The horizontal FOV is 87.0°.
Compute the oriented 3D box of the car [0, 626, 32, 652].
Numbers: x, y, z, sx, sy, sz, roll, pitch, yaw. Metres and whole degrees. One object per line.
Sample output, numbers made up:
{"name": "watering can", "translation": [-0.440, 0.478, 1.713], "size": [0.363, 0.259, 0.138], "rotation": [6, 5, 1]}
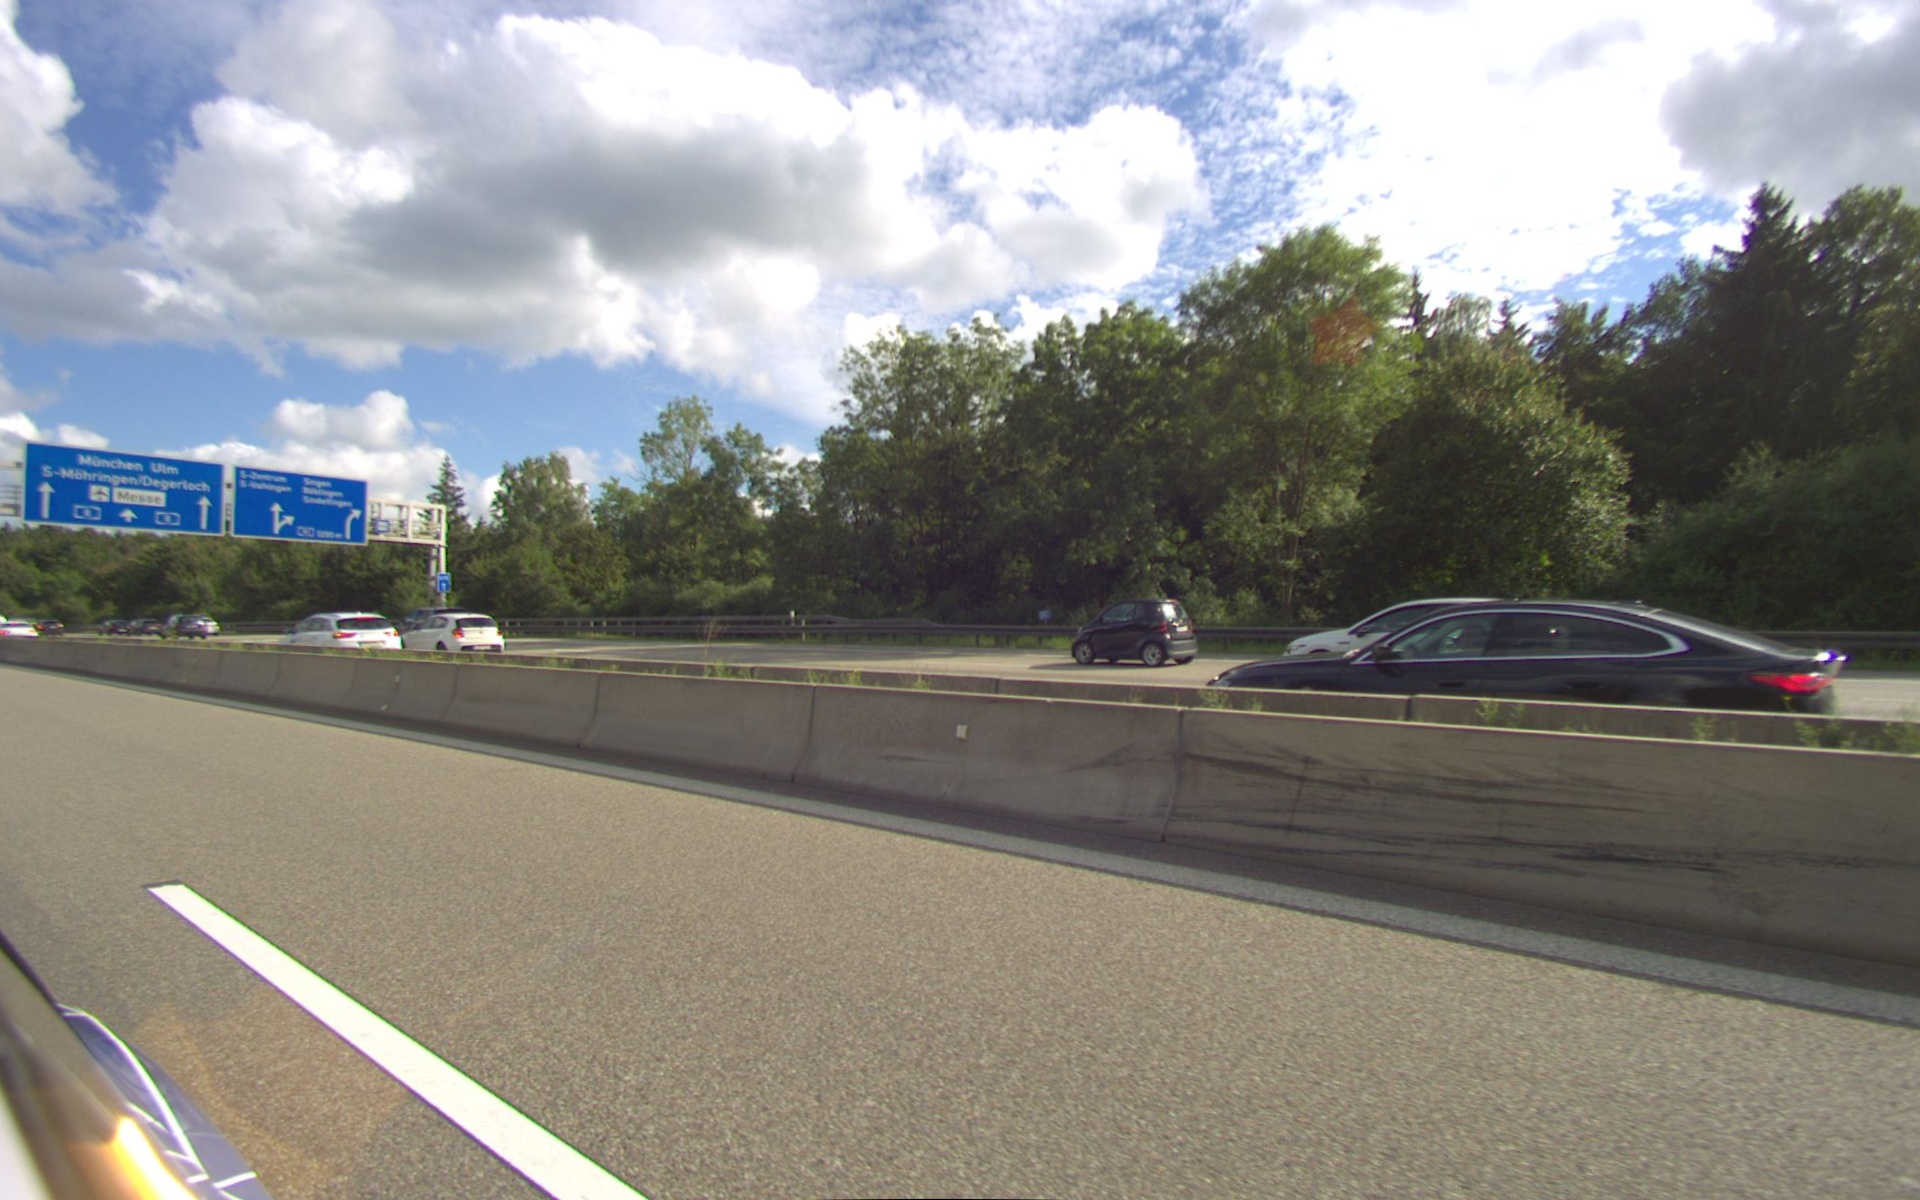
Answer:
{"name": "car", "translation": [-51.739, 2.072, 54.617], "size": [4.875, 1.320, 1.706], "rotation": [-1, -1, 38]}

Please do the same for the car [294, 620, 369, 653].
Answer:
{"name": "car", "translation": [-28.380, 1.622, 45.634], "size": [3.995, 1.364, 1.621], "rotation": [-1, -1, 38]}

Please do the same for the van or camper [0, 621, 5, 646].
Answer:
{"name": "van or camper", "translation": [-73.662, 2.516, 76.090], "size": [5.146, 1.864, 1.845], "rotation": [-2, -1, 37]}

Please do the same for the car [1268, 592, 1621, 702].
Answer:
{"name": "car", "translation": [7.521, 0.671, 15.965], "size": [4.667, 1.484, 2.051], "rotation": [-1, -1, 40]}

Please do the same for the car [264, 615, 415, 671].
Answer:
{"name": "car", "translation": [-16.425, 1.103, 26.691], "size": [4.828, 1.318, 1.973], "rotation": [-1, -1, 40]}

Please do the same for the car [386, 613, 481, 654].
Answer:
{"name": "car", "translation": [-20.431, 1.277, 39.210], "size": [4.628, 1.490, 1.703], "rotation": [-1, -1, 41]}

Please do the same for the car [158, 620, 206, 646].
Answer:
{"name": "car", "translation": [-52.777, 2.212, 68.635], "size": [4.476, 1.652, 1.649], "rotation": [-1, -1, 40]}

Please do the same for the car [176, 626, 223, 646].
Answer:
{"name": "car", "translation": [-61.258, 2.895, 81.462], "size": [5.124, 1.557, 1.799], "rotation": [-1, -1, 38]}

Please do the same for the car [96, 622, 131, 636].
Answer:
{"name": "car", "translation": [-79.722, 2.750, 95.341], "size": [4.177, 1.298, 1.685], "rotation": [-1, -1, 38]}

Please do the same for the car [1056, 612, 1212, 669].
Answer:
{"name": "car", "translation": [3.972, 0.903, 23.325], "size": [3.267, 1.221, 1.478], "rotation": [-1, -1, 40]}

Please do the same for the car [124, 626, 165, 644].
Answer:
{"name": "car", "translation": [-71.147, 3.039, 88.266], "size": [4.700, 1.451, 1.685], "rotation": [-1, -1, 38]}

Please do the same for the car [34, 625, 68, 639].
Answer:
{"name": "car", "translation": [-85.767, 3.010, 95.438], "size": [3.991, 1.298, 1.685], "rotation": [-1, -1, 38]}

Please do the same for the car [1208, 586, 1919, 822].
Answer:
{"name": "car", "translation": [4.644, 0.652, 8.209], "size": [4.745, 1.401, 1.973], "rotation": [-1, -1, 41]}

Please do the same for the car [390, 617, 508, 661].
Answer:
{"name": "car", "translation": [-15.511, 1.166, 30.621], "size": [4.437, 1.209, 1.630], "rotation": [-1, -1, 41]}
